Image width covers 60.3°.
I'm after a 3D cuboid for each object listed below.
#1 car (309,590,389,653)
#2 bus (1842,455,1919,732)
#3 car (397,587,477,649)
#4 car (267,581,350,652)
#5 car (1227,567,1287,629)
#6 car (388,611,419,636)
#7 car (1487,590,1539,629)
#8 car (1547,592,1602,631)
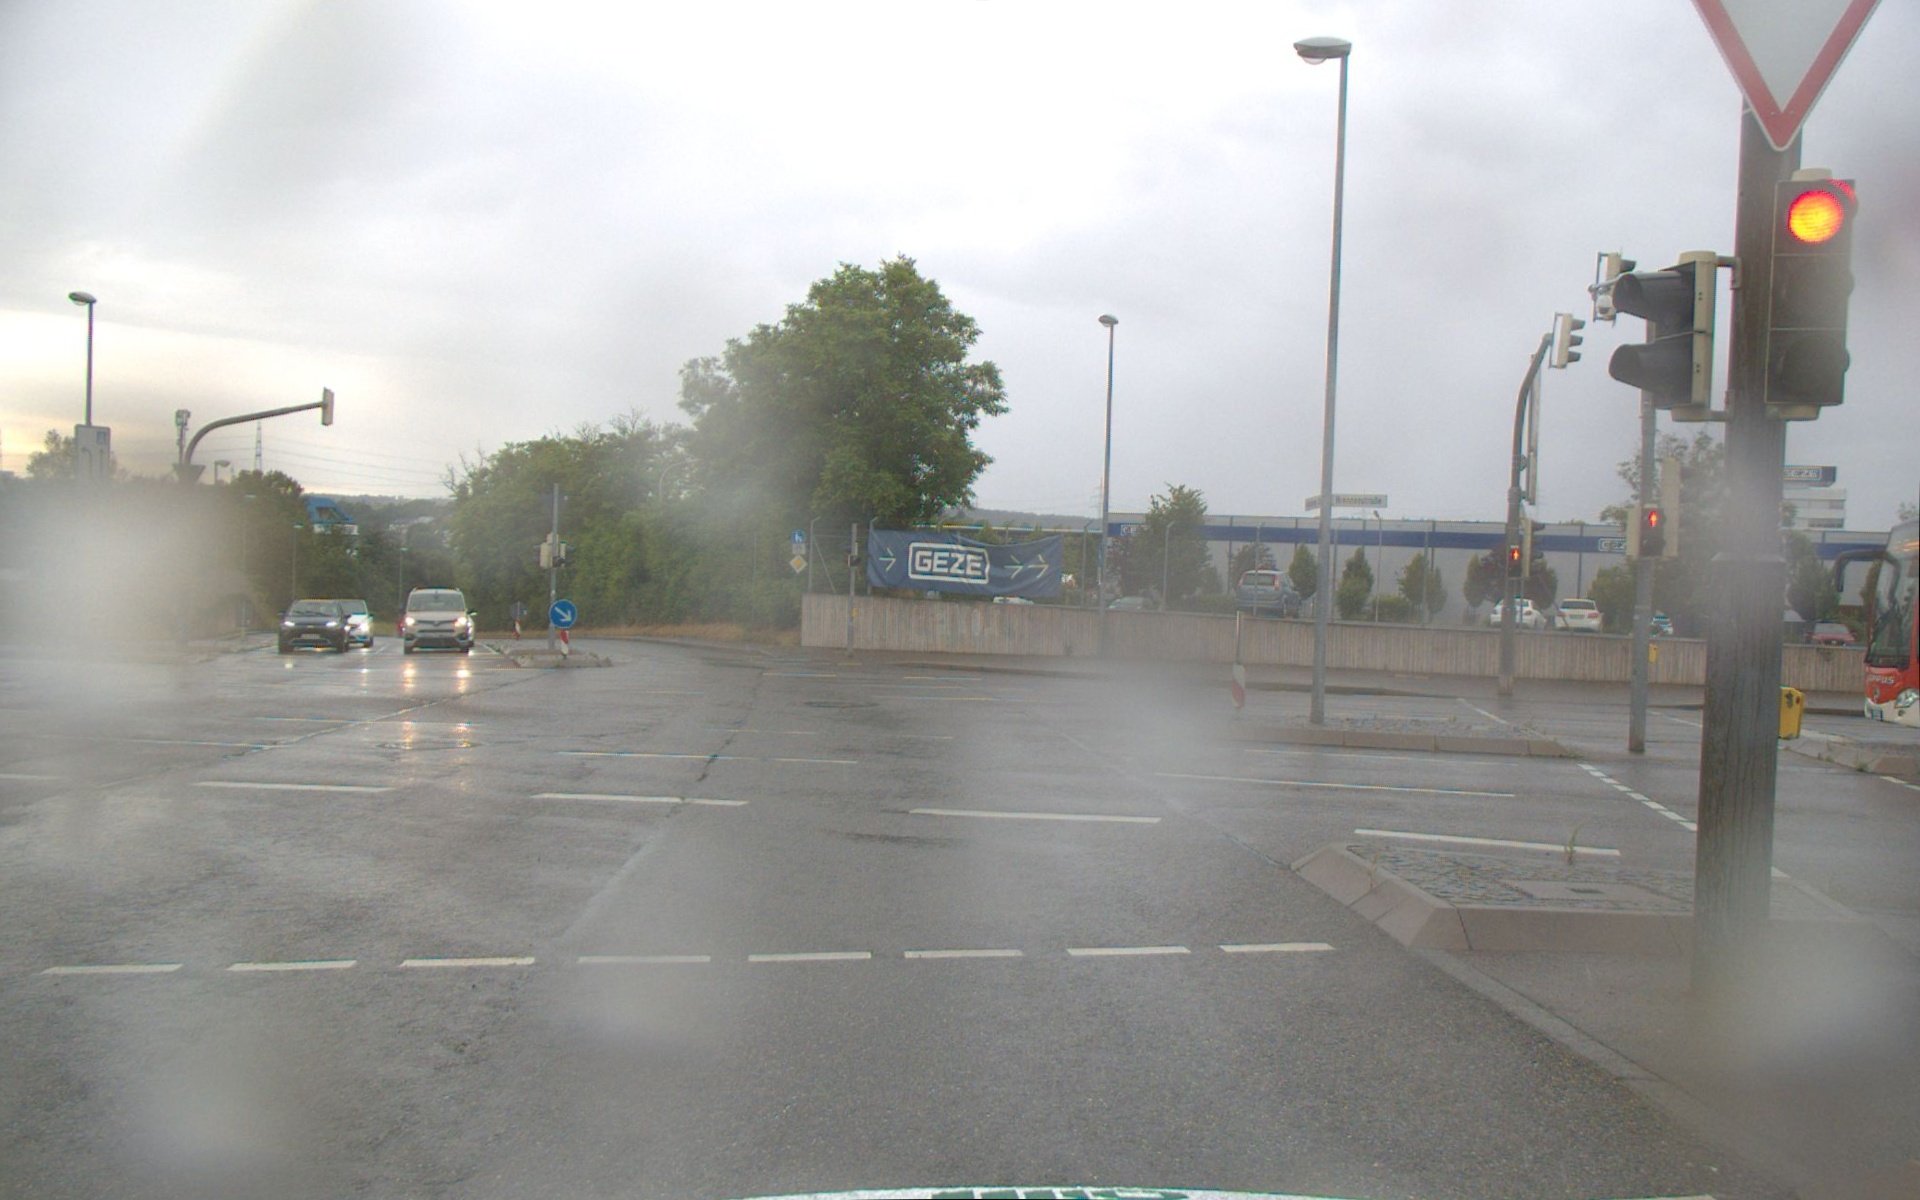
[{"bbox_3d":[-20.322,0.690,55.130,1.959,1.928,3.987,1,1,-13],"label":"car"},{"bbox_3d":[17.701,0.185,19.896,12.020,3.379,3.076,3,1,17],"label":"bus"},{"bbox_3d":[-14.936,0.488,47.361,1.961,1.646,3.984,1,1,-15],"label":"car"},{"bbox_3d":[-18.747,0.445,47.727,1.963,1.928,3.979,1,0,-19],"label":"car"},{"bbox_3d":[10.390,-0.077,57.844,1.951,2.049,4.003,1,0,11],"label":"car"},{"bbox_3d":[-37.313,1.570,110.830,1.593,1.474,3.780,2,1,-23],"label":"car"},{"bbox_3d":[22.957,0.369,68.647,1.952,1.504,4.001,2,1,19],"label":"car"},{"bbox_3d":[25.253,0.438,68.059,1.952,1.504,4.001,2,1,19],"label":"car"}]
